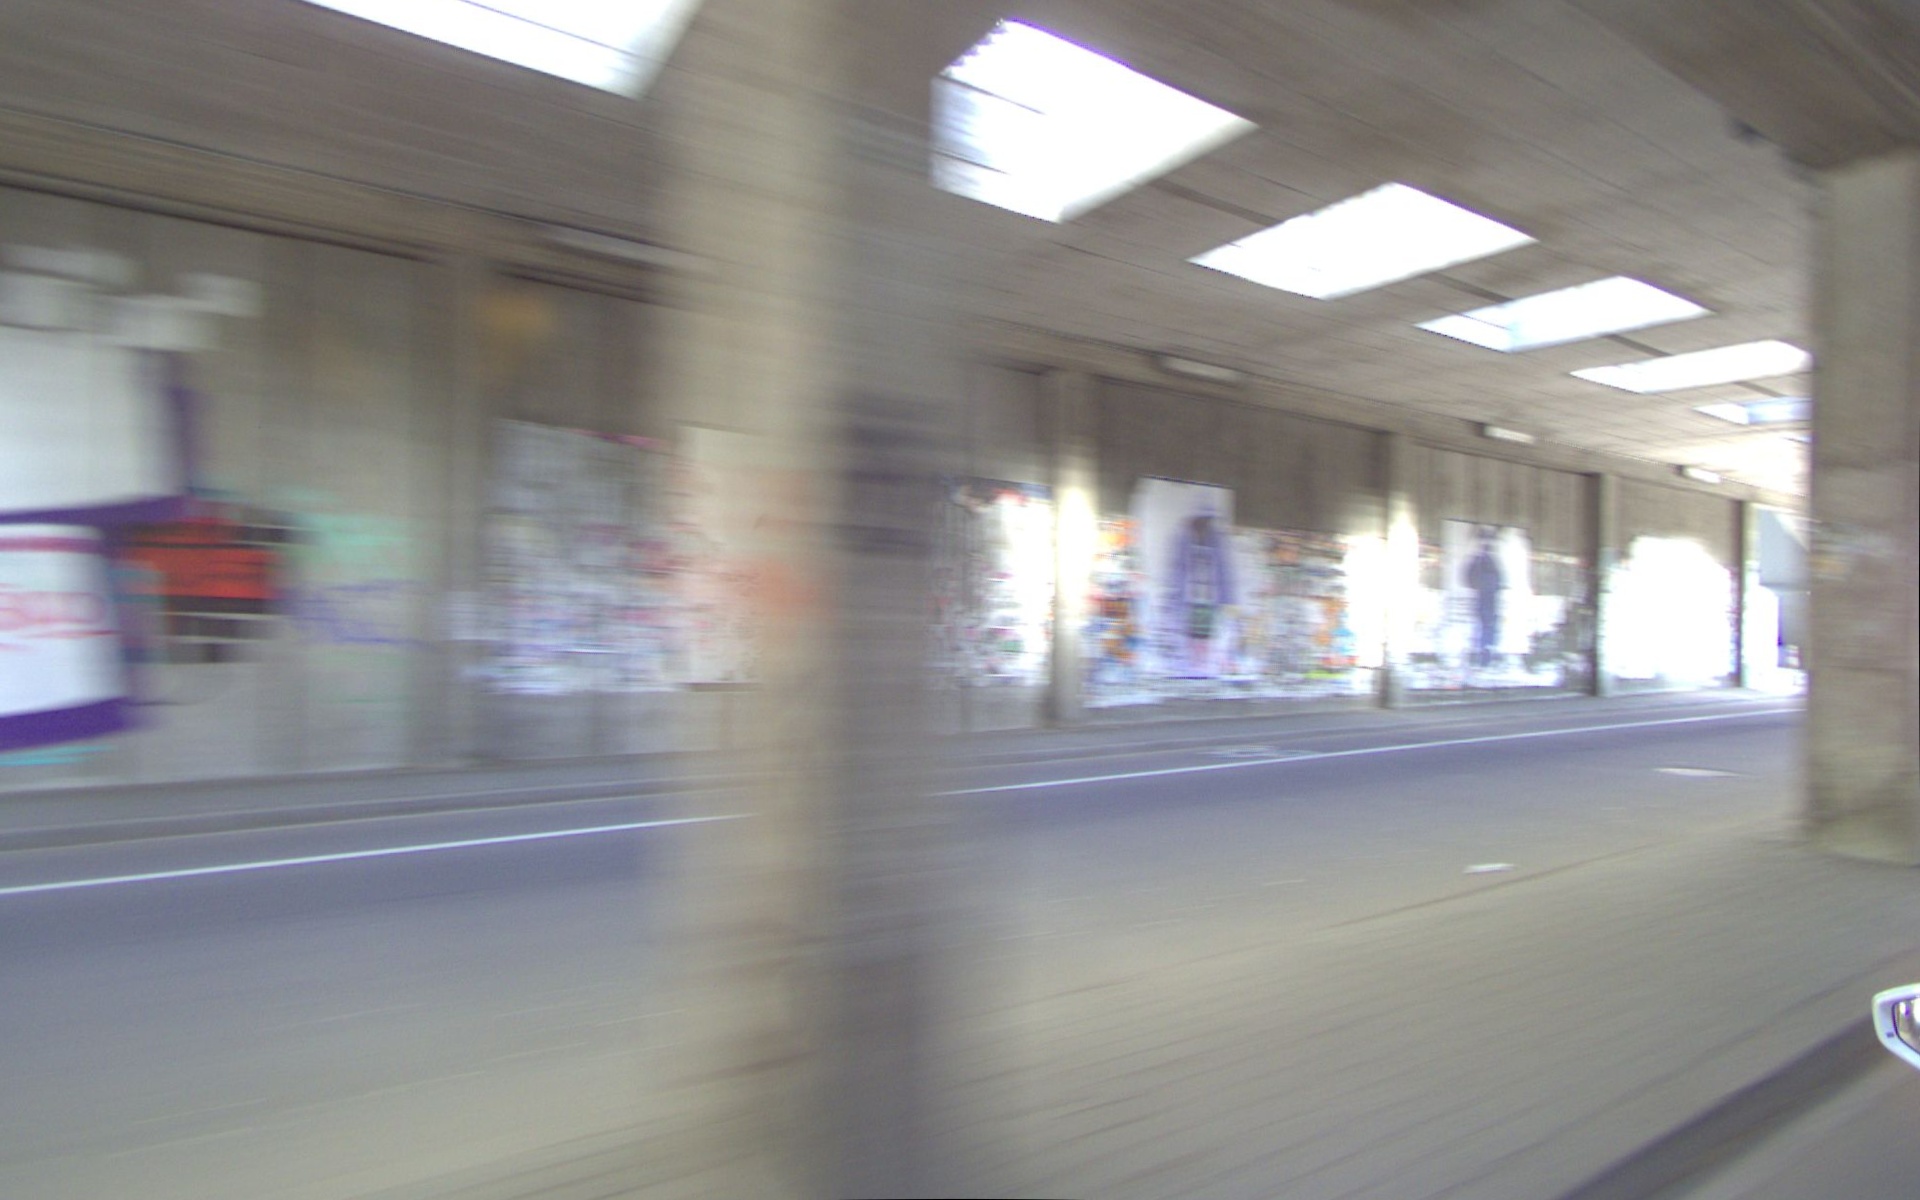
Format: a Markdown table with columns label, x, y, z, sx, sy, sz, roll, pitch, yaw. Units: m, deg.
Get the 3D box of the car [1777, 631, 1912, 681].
| label | x | y | z | sx | sy | sz | roll | pitch | yaw |
| --- | --- | --- | --- | --- | --- | --- | --- | --- | --- |
| car | 41.649 | 2.583 | 47.403 | 1.978 | 2.041 | 4.455 | -1 | 1 | -32 |
